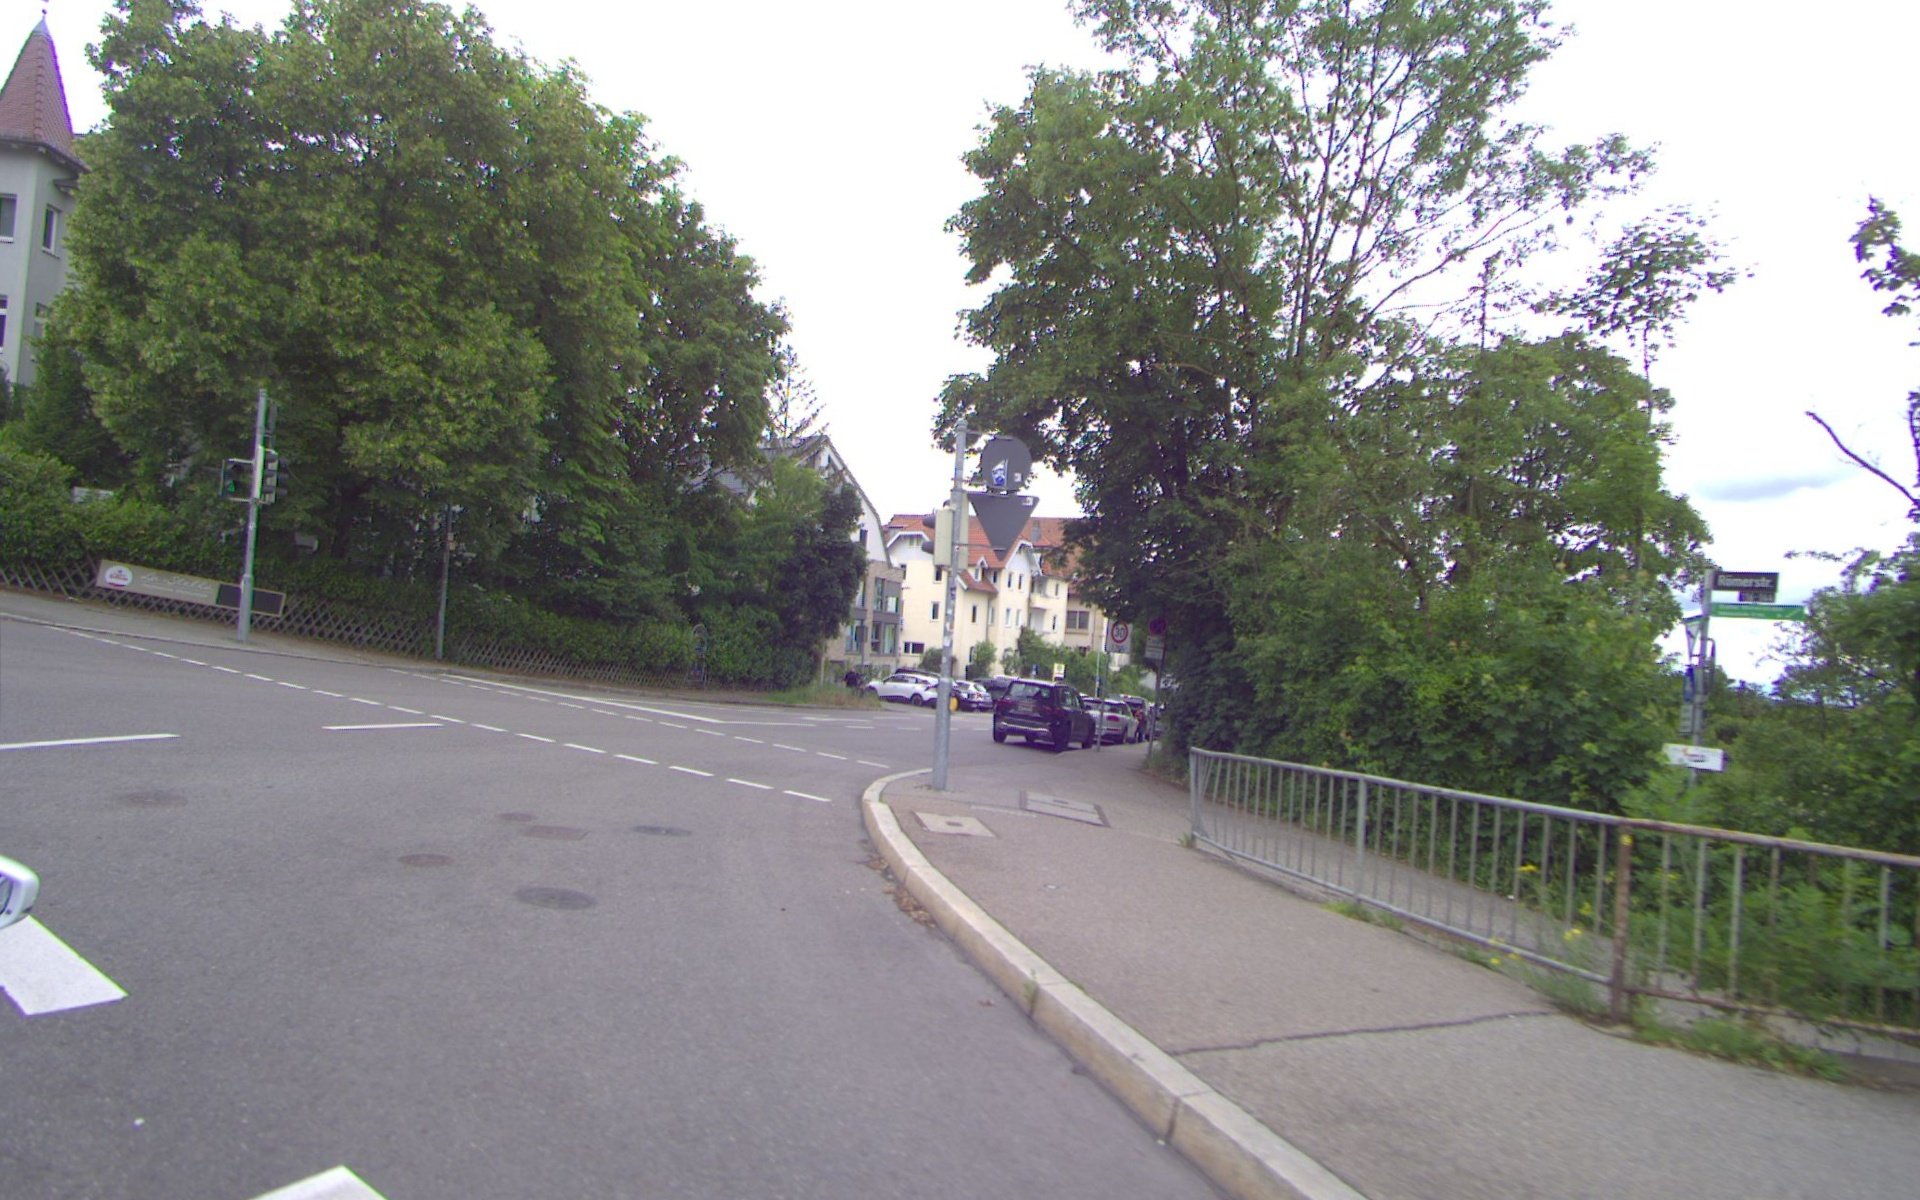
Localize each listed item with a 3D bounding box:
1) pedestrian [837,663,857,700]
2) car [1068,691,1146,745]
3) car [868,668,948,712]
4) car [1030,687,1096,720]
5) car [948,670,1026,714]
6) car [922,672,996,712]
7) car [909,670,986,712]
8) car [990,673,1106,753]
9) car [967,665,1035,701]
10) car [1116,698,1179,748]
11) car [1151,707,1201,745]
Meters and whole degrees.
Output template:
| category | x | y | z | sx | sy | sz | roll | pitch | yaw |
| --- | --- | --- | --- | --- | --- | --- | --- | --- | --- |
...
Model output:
| category | x | y | z | sx | sy | sz | roll | pitch | yaw |
| --- | --- | --- | --- | --- | --- | --- | --- | --- | --- |
| pedestrian | -4.859 | 3.515 | 43.287 | 0.504 | 1.533 | 0.523 | 8 | -3 | 10 |
| car | 4.794 | 3.802 | 32.374 | 1.599 | 1.470 | 3.785 | 5 | -5 | 20 |
| car | -2.474 | 4.251 | 47.638 | 3.412 | 1.533 | 1.435 | 6 | -4 | 32 |
| car | 6.426 | 6.463 | 62.866 | 3.654 | 1.525 | 1.567 | 6 | -4 | 34 |
| car | 1.453 | 4.975 | 54.522 | 3.652 | 1.788 | 1.678 | 6 | -4 | 32 |
| car | -0.057 | 4.792 | 52.412 | 3.412 | 1.533 | 1.435 | 6 | -4 | 32 |
| car | -0.638 | 4.485 | 49.725 | 3.412 | 1.533 | 1.435 | 6 | -4 | 32 |
| car | 2.331 | 2.899 | 25.570 | 1.715 | 1.636 | 4.276 | 7 | -4 | 21 |
| car | 3.028 | 6.112 | 74.189 | 4.474 | 1.897 | 1.936 | 7 | -3 | 23 |
| car | 7.631 | 4.966 | 40.579 | 1.601 | 1.645 | 4.512 | 7 | -4 | 21 |
| car | 10.479 | 6.113 | 48.632 | 1.537 | 1.528 | 4.047 | 7 | -4 | 23 |
